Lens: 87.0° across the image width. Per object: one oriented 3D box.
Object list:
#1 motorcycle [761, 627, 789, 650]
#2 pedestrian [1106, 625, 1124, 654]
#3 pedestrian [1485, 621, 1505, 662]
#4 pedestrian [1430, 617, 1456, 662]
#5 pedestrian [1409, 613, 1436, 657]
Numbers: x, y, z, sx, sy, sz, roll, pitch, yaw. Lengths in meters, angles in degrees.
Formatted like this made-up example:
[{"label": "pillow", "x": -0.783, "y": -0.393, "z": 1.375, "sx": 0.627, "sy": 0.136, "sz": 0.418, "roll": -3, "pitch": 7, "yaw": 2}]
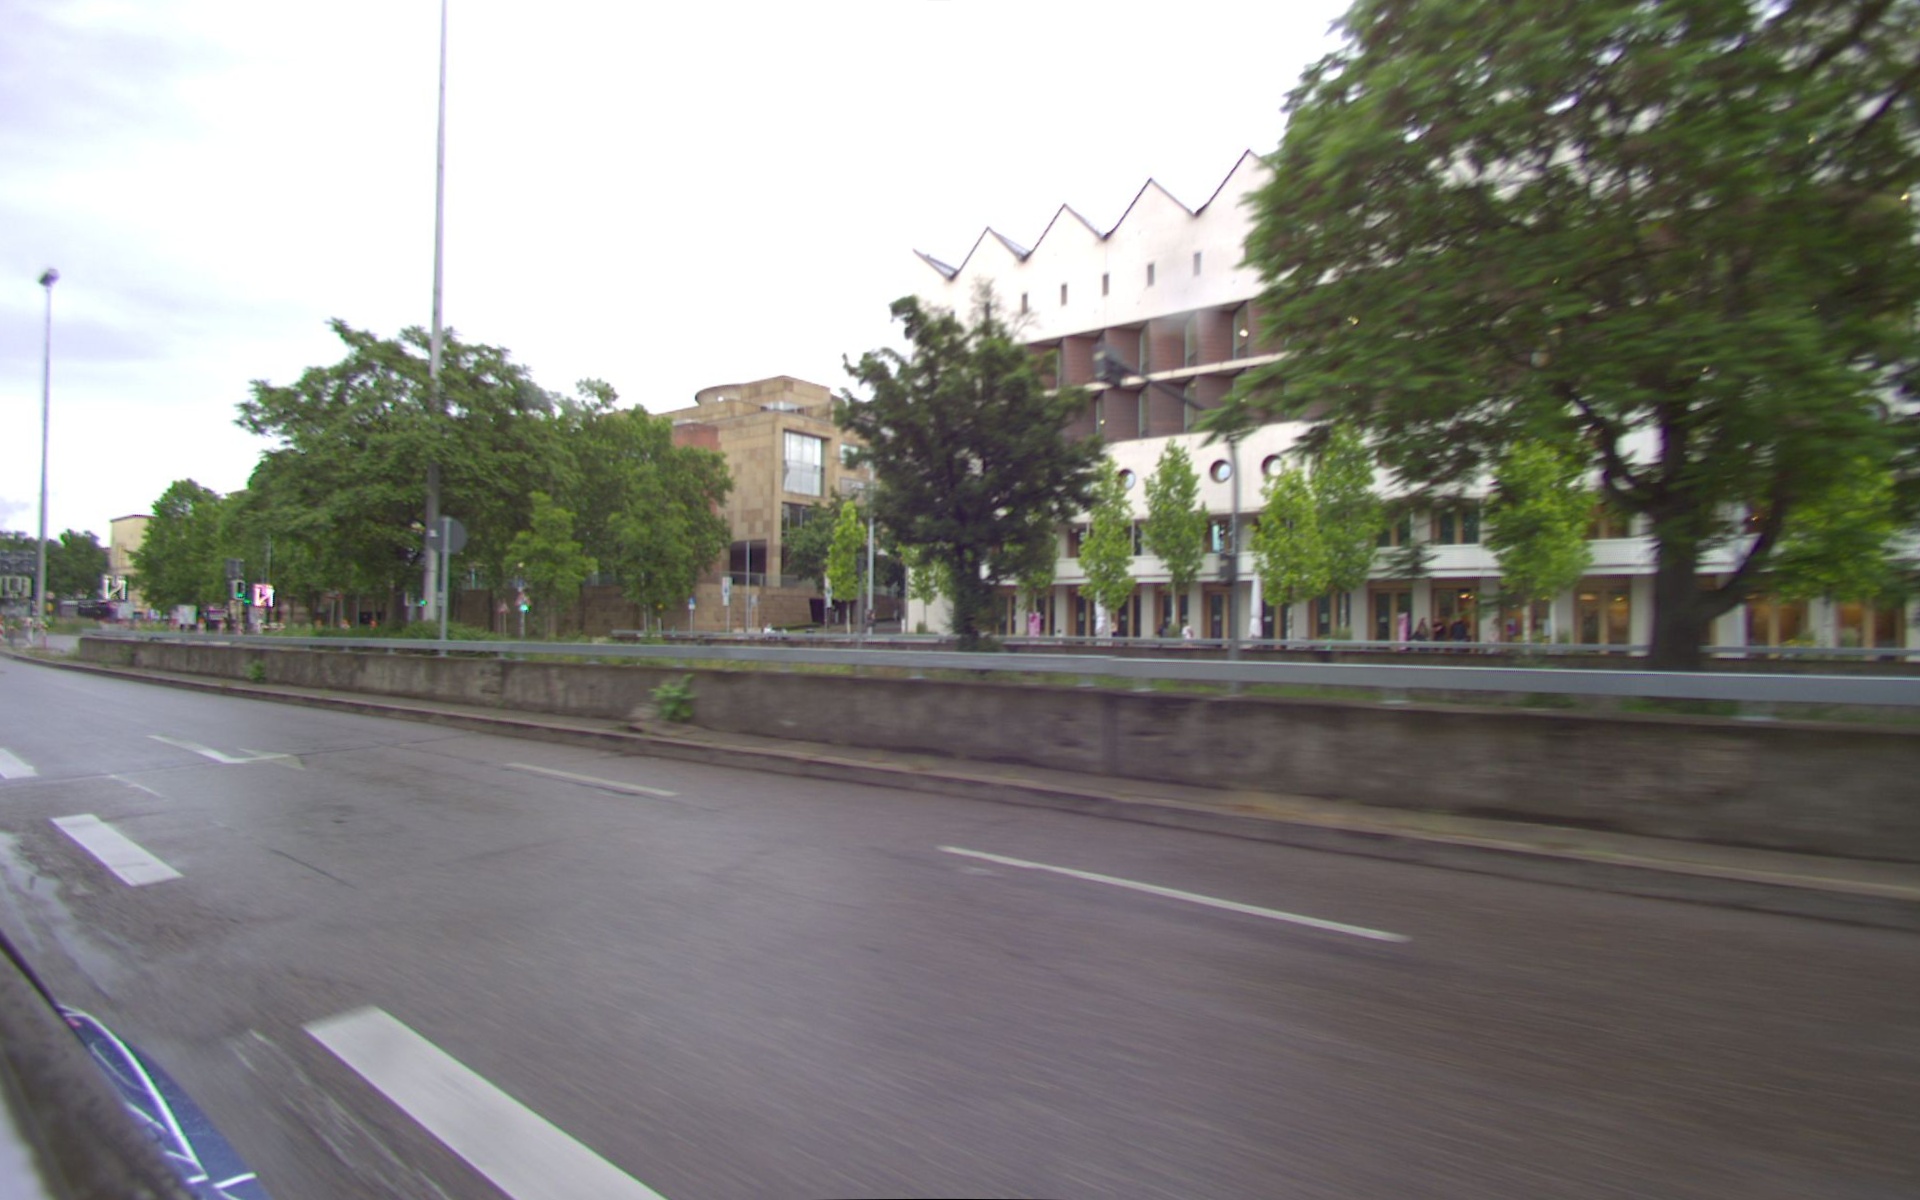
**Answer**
[{"label": "motorcycle", "x": -10.372, "y": 2.158, "z": 56.815, "sx": 0.603, "sy": 1.191, "sz": 1.800, "roll": 0, "pitch": 0, "yaw": 26}, {"label": "pedestrian", "x": 8.116, "y": 2.065, "z": 53.017, "sx": 0.650, "sy": 1.526, "sz": 0.671, "roll": -1, "pitch": -1, "yaw": 42}, {"label": "pedestrian", "x": 22.045, "y": 1.702, "z": 41.709, "sx": 0.698, "sy": 1.639, "sz": 0.734, "roll": 0, "pitch": 0, "yaw": 25}, {"label": "pedestrian", "x": 20.434, "y": 1.653, "z": 42.809, "sx": 0.729, "sy": 1.873, "sz": 0.703, "roll": 0, "pitch": 0, "yaw": -8}, {"label": "pedestrian", "x": 19.641, "y": 1.482, "z": 42.986, "sx": 0.729, "sy": 1.873, "sz": 0.703, "roll": 0, "pitch": 0, "yaw": -8}]
